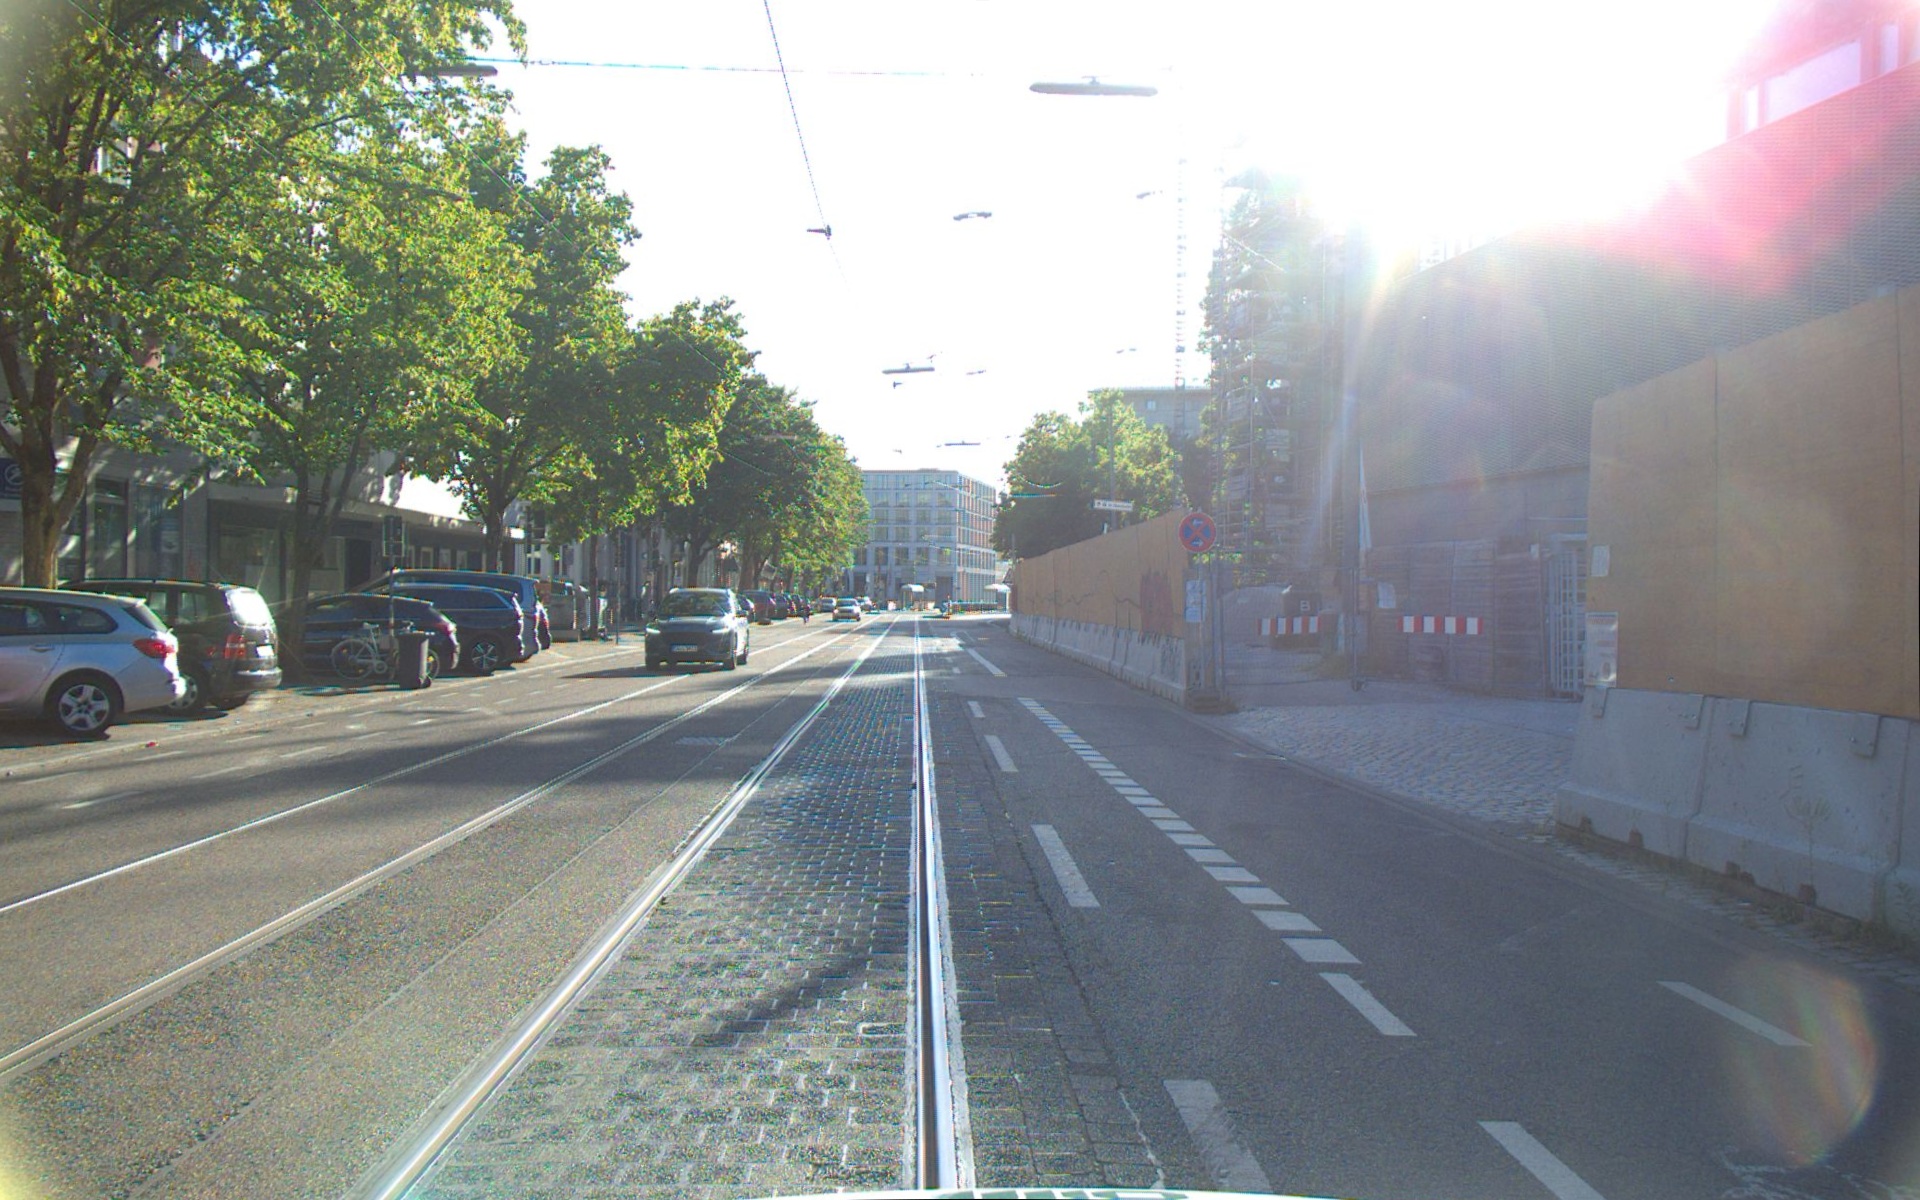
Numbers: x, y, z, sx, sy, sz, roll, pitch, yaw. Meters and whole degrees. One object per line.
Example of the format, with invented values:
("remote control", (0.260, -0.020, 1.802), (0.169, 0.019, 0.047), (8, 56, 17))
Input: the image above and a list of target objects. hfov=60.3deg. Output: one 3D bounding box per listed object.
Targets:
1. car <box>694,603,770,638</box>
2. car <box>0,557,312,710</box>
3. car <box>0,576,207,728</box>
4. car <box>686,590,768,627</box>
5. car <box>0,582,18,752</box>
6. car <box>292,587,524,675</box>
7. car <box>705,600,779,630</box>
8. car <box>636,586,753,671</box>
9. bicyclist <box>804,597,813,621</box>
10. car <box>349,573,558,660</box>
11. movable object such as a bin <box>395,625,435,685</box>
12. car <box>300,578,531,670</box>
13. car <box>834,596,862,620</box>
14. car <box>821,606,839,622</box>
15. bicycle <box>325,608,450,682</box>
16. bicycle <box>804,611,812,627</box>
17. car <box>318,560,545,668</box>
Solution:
("car", (-11.930, 1.079, 86.519), (3.646, 1.752, 1.590), (1, 0, -37))
("car", (-10.731, 0.390, 21.242), (4.023, 1.707, 1.839), (3, 0, -4))
("car", (-10.404, 0.514, 17.788), (4.057, 1.539, 1.824), (3, 0, -28))
("car", (-11.229, 0.427, 79.767), (3.646, 1.752, 1.590), (1, 0, -37))
("car", (-10.447, 0.529, 14.886), (3.326, 1.519, 1.597), (3, 0, -30))
("car", (-9.816, 0.530, 29.530), (3.798, 1.502, 1.833), (0, 0, -20))
("car", (-13.049, 0.895, 98.925), (4.114, 1.751, 1.568), (2, -1, -29))
("car", (-5.479, 0.560, 34.639), (1.889, 1.658, 4.247), (0, 0, -2))
("bicyclist", (-8.808, 0.504, 96.161), (0.449, 1.402, 0.640), (1, 0, -6))
("car", (-11.435, 0.387, 37.389), (4.229, 1.695, 1.896), (4, -1, -26))
("movable object such as a bin", (-8.998, 0.903, 27.318), (0.566, 0.929, 0.573), (3, 0, -17))
("car", (-10.629, 0.448, 32.271), (4.177, 1.714, 1.798), (0, 0, -23))
("car", (-7.211, 0.500, 106.739), (1.675, 1.461, 4.169), (1, 0, -2))
("car", (-12.967, 1.387, 165.368), (1.541, 1.516, 3.999), (1, 0, -1))
("bicycle", (-9.660, 0.761, 27.949), (1.936, 1.164, 0.490), (3, -1, -20))
("bicycle", (-8.838, 1.088, 96.276), (0.440, 0.896, 1.898), (1, 0, -6))
("car", (-11.072, 0.308, 34.653), (4.295, 2.021, 1.935), (3, -1, -23))
